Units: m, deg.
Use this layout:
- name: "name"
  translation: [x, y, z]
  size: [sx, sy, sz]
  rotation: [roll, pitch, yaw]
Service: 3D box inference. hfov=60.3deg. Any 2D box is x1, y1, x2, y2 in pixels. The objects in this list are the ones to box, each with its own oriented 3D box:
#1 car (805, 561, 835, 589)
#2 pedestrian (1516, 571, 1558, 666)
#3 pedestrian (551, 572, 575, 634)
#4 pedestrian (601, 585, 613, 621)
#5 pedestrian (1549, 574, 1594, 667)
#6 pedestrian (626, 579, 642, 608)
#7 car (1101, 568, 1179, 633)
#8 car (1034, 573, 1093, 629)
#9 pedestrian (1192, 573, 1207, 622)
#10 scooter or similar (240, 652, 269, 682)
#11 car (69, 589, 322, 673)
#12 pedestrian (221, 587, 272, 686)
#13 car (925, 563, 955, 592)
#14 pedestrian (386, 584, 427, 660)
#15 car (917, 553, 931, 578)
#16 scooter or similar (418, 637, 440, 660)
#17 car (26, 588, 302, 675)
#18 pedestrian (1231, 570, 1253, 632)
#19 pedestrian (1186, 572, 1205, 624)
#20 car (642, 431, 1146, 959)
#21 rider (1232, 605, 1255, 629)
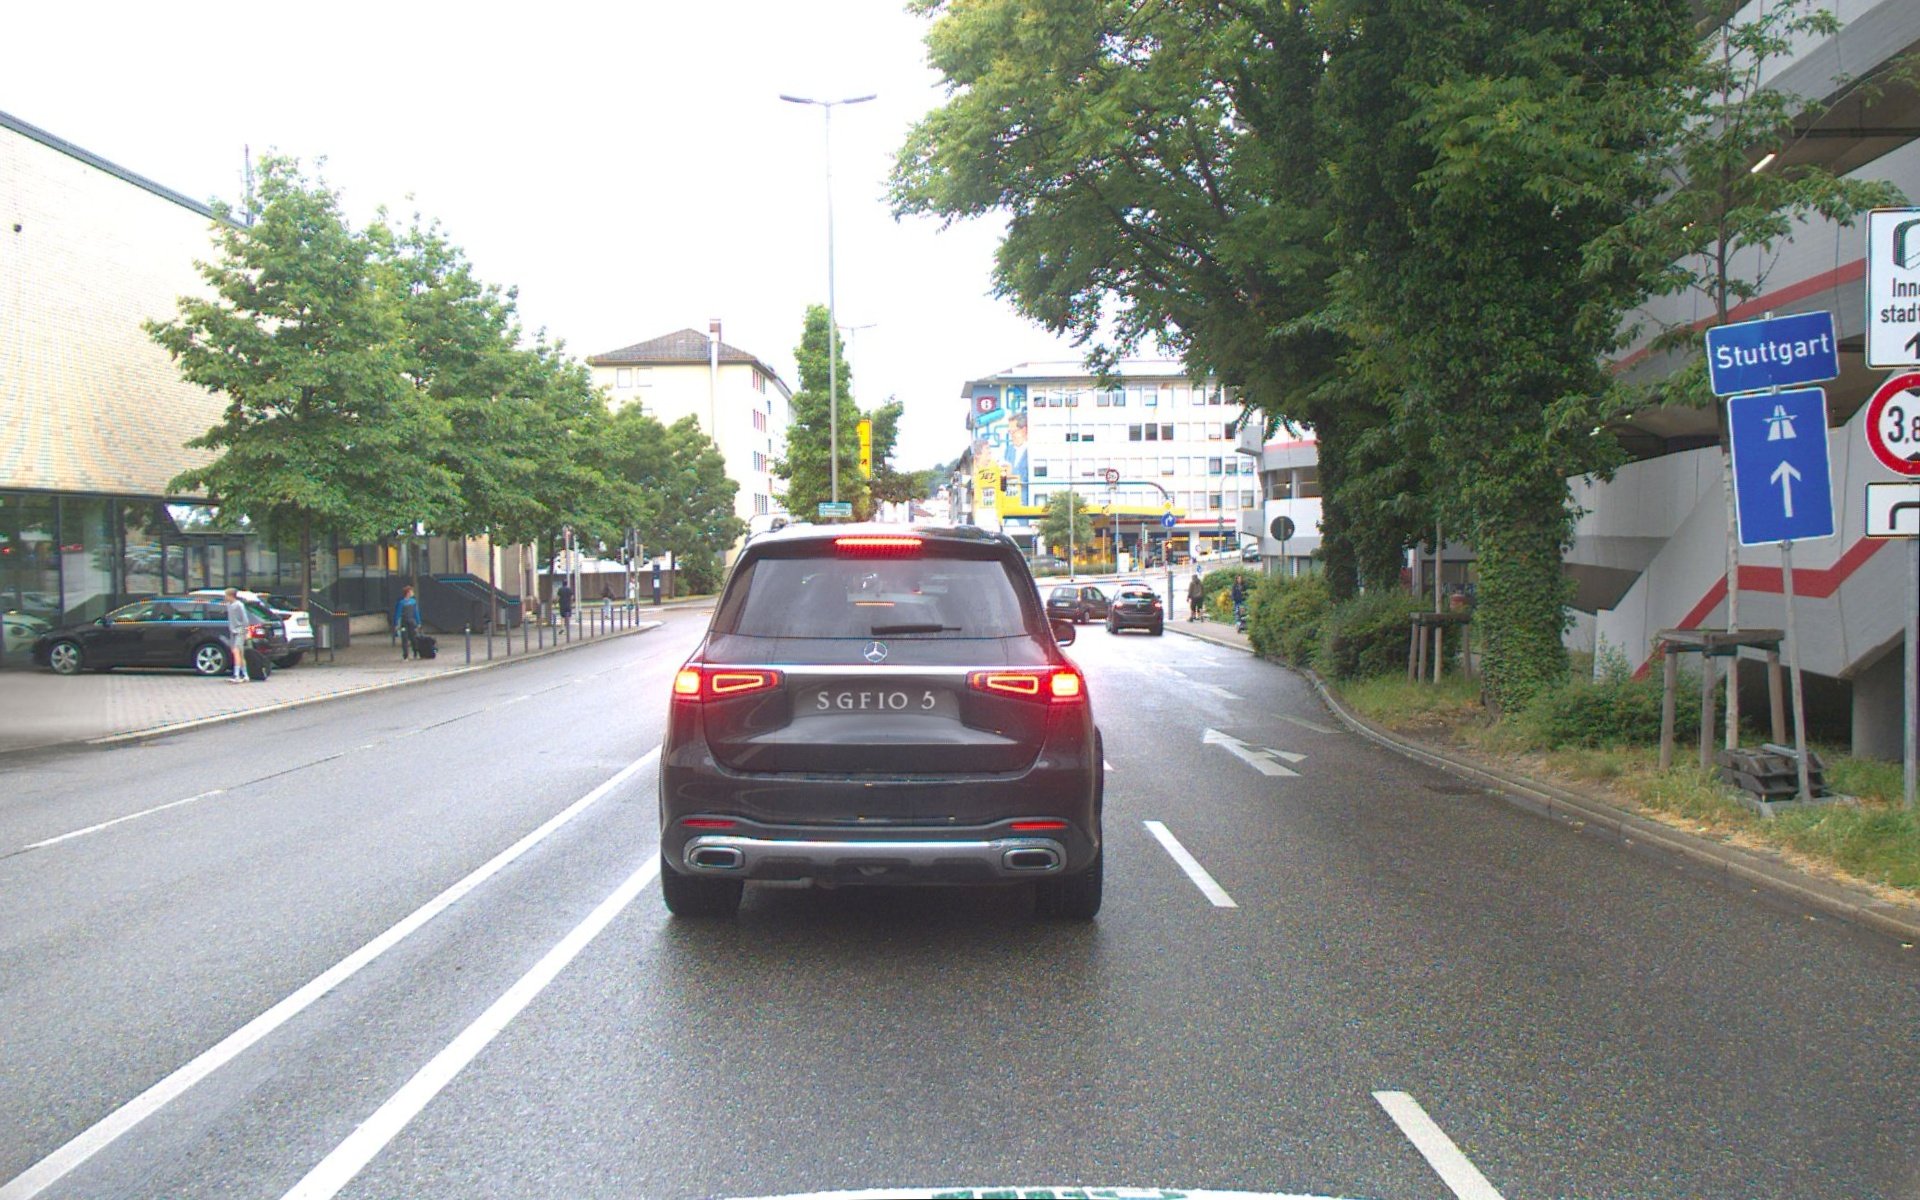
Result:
- name: "car"
  translation: [-10.298, -1.843, 121.569]
  size: [1.954, 1.908, 5.139]
  rotation: [1, 0, -3]
- name: "pedestrian"
  translation: [9.631, 0.305, 27.632]
  size: [0.539, 1.559, 0.488]
  rotation: [1, -1, 5]
- name: "pedestrian"
  translation: [-13.263, 0.095, 55.273]
  size: [0.576, 2.049, 0.749]
  rotation: [2, -1, -3]
- name: "pedestrian"
  translation: [-16.484, 0.132, 77.222]
  size: [0.391, 1.673, 0.567]
  rotation: [1, -1, -1]
- name: "pedestrian"
  translation: [10.196, 0.338, 27.590]
  size: [0.569, 1.528, 0.504]
  rotation: [1, -1, 4]
- name: "pedestrian"
  translation: [-16.659, -0.317, 84.449]
  size: [0.697, 1.487, 0.598]
  rotation: [1, -1, -2]
- name: "car"
  translation: [5.919, -0.005, 54.706]
  size: [1.954, 2.049, 3.998]
  rotation: [0, 1, -3]
- name: "car"
  translation: [3.968, 0.038, 63.998]
  size: [1.953, 2.049, 3.999]
  rotation: [1, 0, -1]
- name: "pedestrian"
  translation: [9.508, -0.095, 65.690]
  size: [0.509, 1.944, 0.556]
  rotation: [1, -1, -1]
- name: "scooter or similar"
  translation: [-12.736, 1.213, 29.863]
  size: [0.274, 0.509, 0.616]
  rotation: [1, 0, -3]
- name: "car"
  translation: [-15.757, 0.628, 34.299]
  size: [4.331, 1.601, 1.998]
  rotation: [1, 2, -6]
- name: "pedestrian"
  translation: [-12.706, 0.644, 29.454]
  size: [0.662, 1.727, 0.479]
  rotation: [1, 0, -1]
- name: "car"
  translation: [-1.471, -1.643, 121.360]
  size: [1.954, 2.049, 3.997]
  rotation: [1, 0, -4]
- name: "pedestrian"
  translation: [-13.135, 0.534, 39.278]
  size: [0.675, 1.756, 0.753]
  rotation: [1, -3, -2]
- name: "car"
  translation: [-5.261, -4.993, 239.226]
  size: [1.953, 2.036, 4.023]
  rotation: [1, 24, -2]
- name: "scooter or similar"
  translation: [-12.825, 1.163, 39.958]
  size: [0.352, 0.545, 0.499]
  rotation: [1, -2, -2]
- name: "car"
  translation: [-15.342, 0.590, 32.106]
  size: [4.383, 1.615, 1.997]
  rotation: [0, 0, -8]
- name: "pedestrian"
  translation: [9.001, 0.030, 52.820]
  size: [0.648, 1.951, 0.729]
  rotation: [1, -1, 10]
- name: "pedestrian"
  translation: [9.016, -0.083, 63.333]
  size: [0.607, 1.969, 0.610]
  rotation: [1, -1, 0]
- name: "car"
  translation: [-0.326, 0.390, 8.524]
  size: [1.953, 2.049, 3.998]
  rotation: [1, 0, -2]
- name: "rider"
  translation: [8.917, 0.530, 52.077]
  size: [0.679, 0.753, 0.633]
  rotation: [1, -1, 7]
